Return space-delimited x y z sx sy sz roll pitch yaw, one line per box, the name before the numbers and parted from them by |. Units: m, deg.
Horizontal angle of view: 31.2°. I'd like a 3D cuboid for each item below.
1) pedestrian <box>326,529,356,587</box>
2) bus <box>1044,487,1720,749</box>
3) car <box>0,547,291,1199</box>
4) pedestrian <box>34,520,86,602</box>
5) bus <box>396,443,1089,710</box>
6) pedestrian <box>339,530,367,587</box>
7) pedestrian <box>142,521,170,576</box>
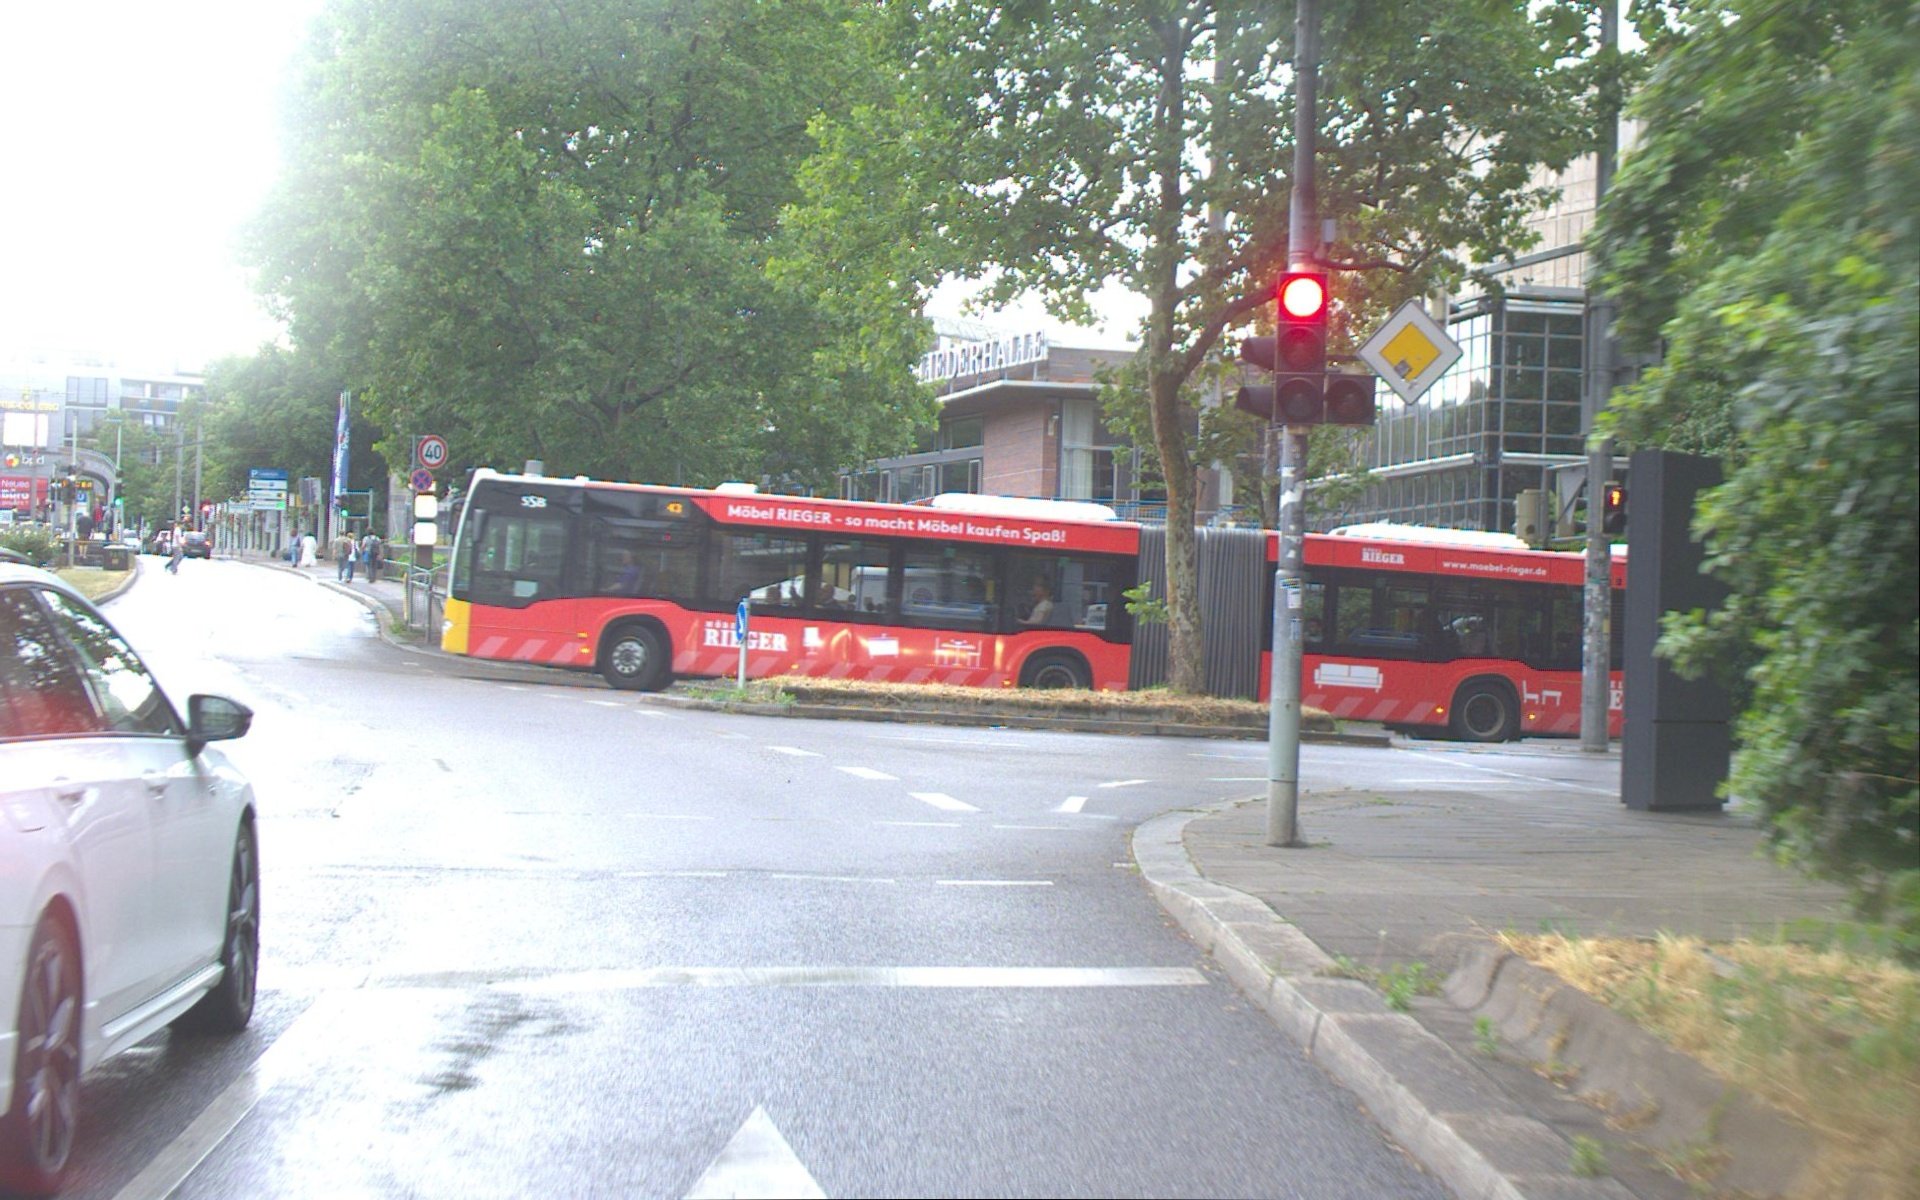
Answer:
pedestrian | -19.914 -1.363 110.592 0.756 1.817 0.701 4 -1 -14
bus | 6.053 0.279 49.752 9.152 3.100 2.664 4 -1 -9
car | -2.891 0.659 8.643 1.679 1.571 4.253 2 1 -2
pedestrian | -18.561 -0.804 70.884 0.738 1.634 0.871 4 -1 0
bus | -3.061 -0.319 49.016 9.423 3.100 2.559 4 -1 -3
pedestrian | -19.761 -1.344 111.902 0.756 1.817 0.701 4 -1 -14
pedestrian | -48.707 -3.111 208.155 1.353 3.241 0.983 4 -1 -7
